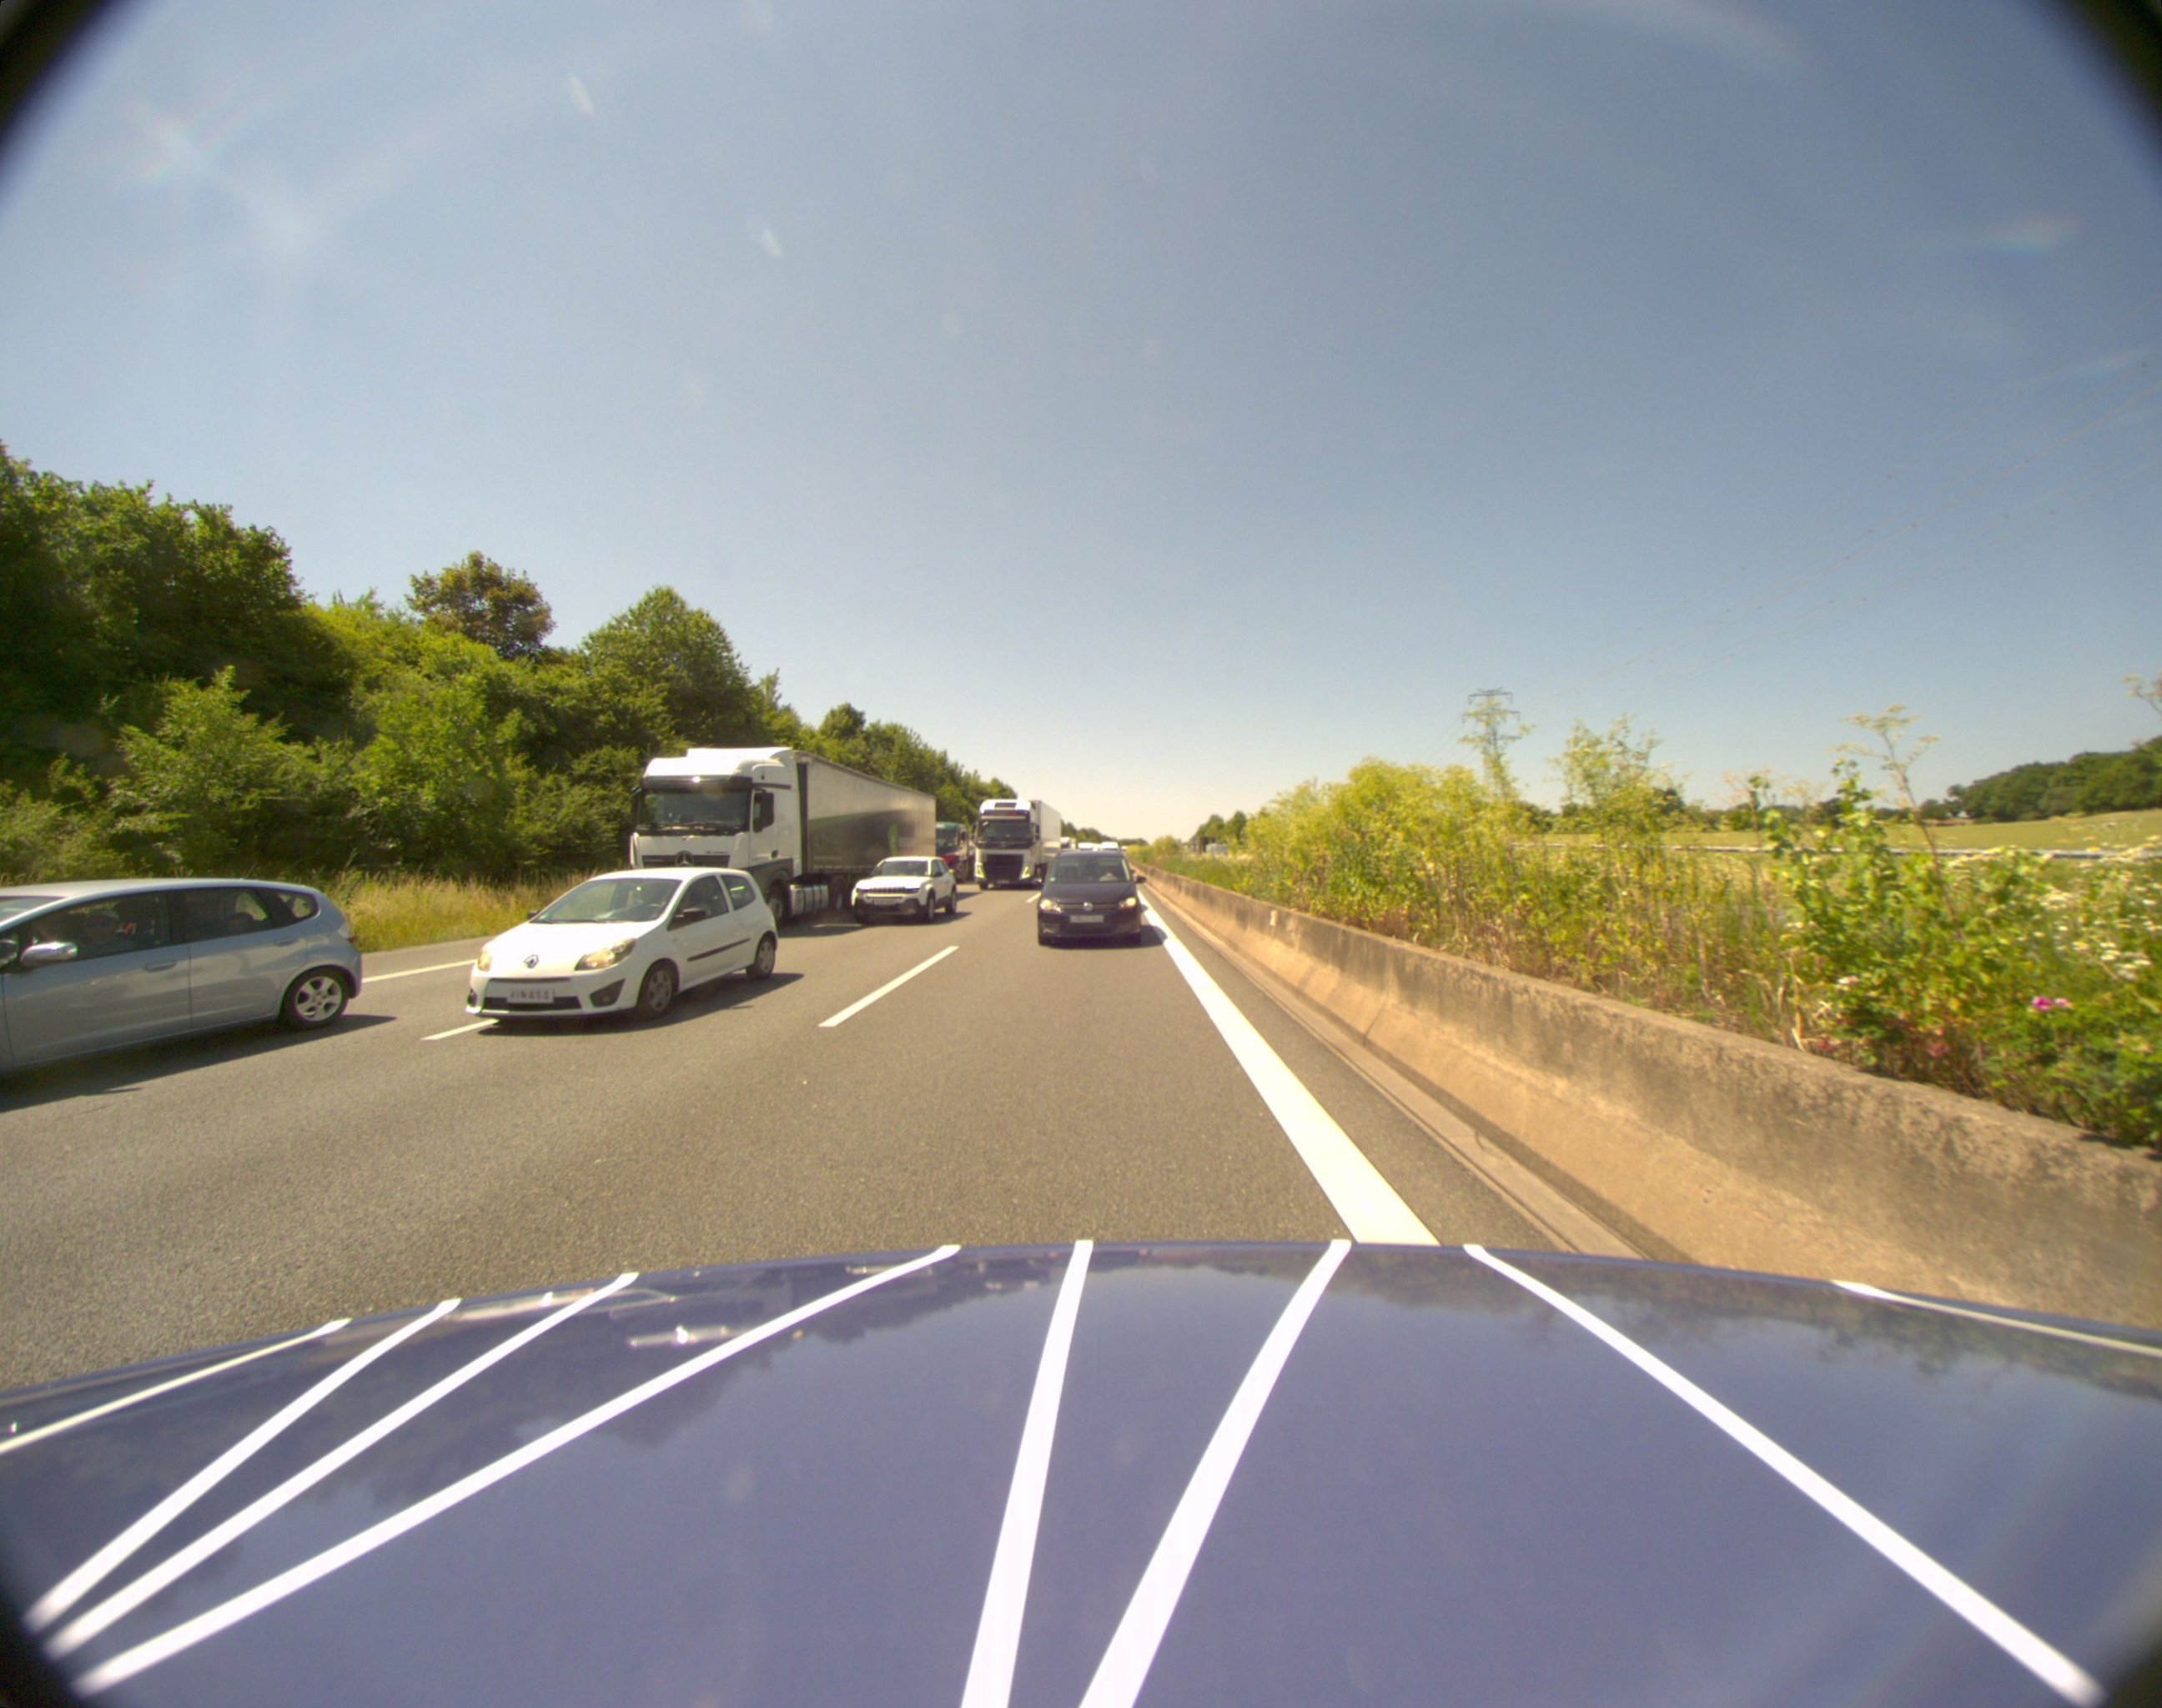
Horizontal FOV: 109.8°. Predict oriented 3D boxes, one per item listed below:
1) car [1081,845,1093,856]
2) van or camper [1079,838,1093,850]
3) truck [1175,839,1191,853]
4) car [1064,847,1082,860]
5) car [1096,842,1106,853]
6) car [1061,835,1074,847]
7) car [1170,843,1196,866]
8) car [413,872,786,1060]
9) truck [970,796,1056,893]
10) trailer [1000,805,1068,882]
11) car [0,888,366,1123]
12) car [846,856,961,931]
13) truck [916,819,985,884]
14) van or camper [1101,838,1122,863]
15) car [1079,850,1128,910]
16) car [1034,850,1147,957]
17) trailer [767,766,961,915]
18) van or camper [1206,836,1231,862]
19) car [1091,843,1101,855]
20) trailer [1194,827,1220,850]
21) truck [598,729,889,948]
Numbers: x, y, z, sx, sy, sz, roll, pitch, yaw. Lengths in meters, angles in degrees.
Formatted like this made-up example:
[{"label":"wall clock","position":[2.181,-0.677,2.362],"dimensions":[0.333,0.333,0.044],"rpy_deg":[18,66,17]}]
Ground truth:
[{"label":"car","position":[0.989,-0.496,119.615],"dimensions":[1.652,1.636,4.000],"rpy_deg":[-1,1,3]},{"label":"van or camper","position":[0.870,-1.716,134.722],"dimensions":[2.189,2.018,4.364],"rpy_deg":[-1,1,3]},{"label":"truck","position":[24.993,-2.052,186.748],"dimensions":[2.771,3.269,11.820],"rpy_deg":[-1,1,3]},{"label":"car","position":[-0.864,-0.050,82.838],"dimensions":[1.650,1.336,3.381],"rpy_deg":[-1,1,3]},{"label":"car","position":[4.572,-1.535,172.137],"dimensions":[1.998,2.302,4.229],"rpy_deg":[-1,1,2]},{"label":"car","position":[-2.264,-2.188,129.351],"dimensions":[1.998,2.002,4.000],"rpy_deg":[-1,1,2]},{"label":"car","position":[10.236,0.038,76.661],"dimensions":[1.998,2.134,4.600],"rpy_deg":[-2,1,1]},{"label":"car","position":[-4.859,1.007,8.407],"dimensions":[1.609,1.426,3.809],"rpy_deg":[0,1,2]},{"label":"truck","position":[-2.948,-0.443,35.690],"dimensions":[2.750,3.972,8.361],"rpy_deg":[-1,1,3]},{"label":"trailer","position":[-2.492,-0.608,43.845],"dimensions":[2.776,3.951,9.156],"rpy_deg":[-1,1,3]},{"label":"car","position":[-8.160,1.092,5.778],"dimensions":[1.666,1.453,3.922],"rpy_deg":[0,1,1]},{"label":"car","position":[-4.204,0.867,18.592],"dimensions":[1.748,1.549,3.884],"rpy_deg":[0,1,2]},{"label":"truck","position":[-6.753,-0.165,40.120],"dimensions":[2.299,3.128,5.675],"rpy_deg":[-1,1,3]},{"label":"van or camper","position":[3.203,-0.401,78.712],"dimensions":[1.956,2.368,4.037],"rpy_deg":[-2,1,3]},{"label":"car","position":[0.721,0.739,23.199],"dimensions":[1.357,1.630,2.994],"rpy_deg":[-2,1,3]},{"label":"car","position":[0.257,0.773,14.552],"dimensions":[1.758,1.571,5.291],"rpy_deg":[-1,1,2]},{"label":"trailer","position":[-7.085,-0.453,27.446],"dimensions":[2.879,4.133,12.076],"rpy_deg":[-1,1,3]},{"label":"van or camper","position":[15.495,-0.584,85.836],"dimensions":[2.053,2.843,4.649],"rpy_deg":[-1,1,2]},{"label":"car","position":[2.962,-1.021,152.292],"dimensions":[1.998,2.302,4.229],"rpy_deg":[-1,1,1]},{"label":"trailer","position":[20.803,-2.533,126.071],"dimensions":[3.190,3.740,8.200],"rpy_deg":[-1,1,2]},{"label":"truck","position":[-7.521,-0.342,18.750],"dimensions":[2.879,4.133,8.475],"rpy_deg":[-1,1,3]}]
